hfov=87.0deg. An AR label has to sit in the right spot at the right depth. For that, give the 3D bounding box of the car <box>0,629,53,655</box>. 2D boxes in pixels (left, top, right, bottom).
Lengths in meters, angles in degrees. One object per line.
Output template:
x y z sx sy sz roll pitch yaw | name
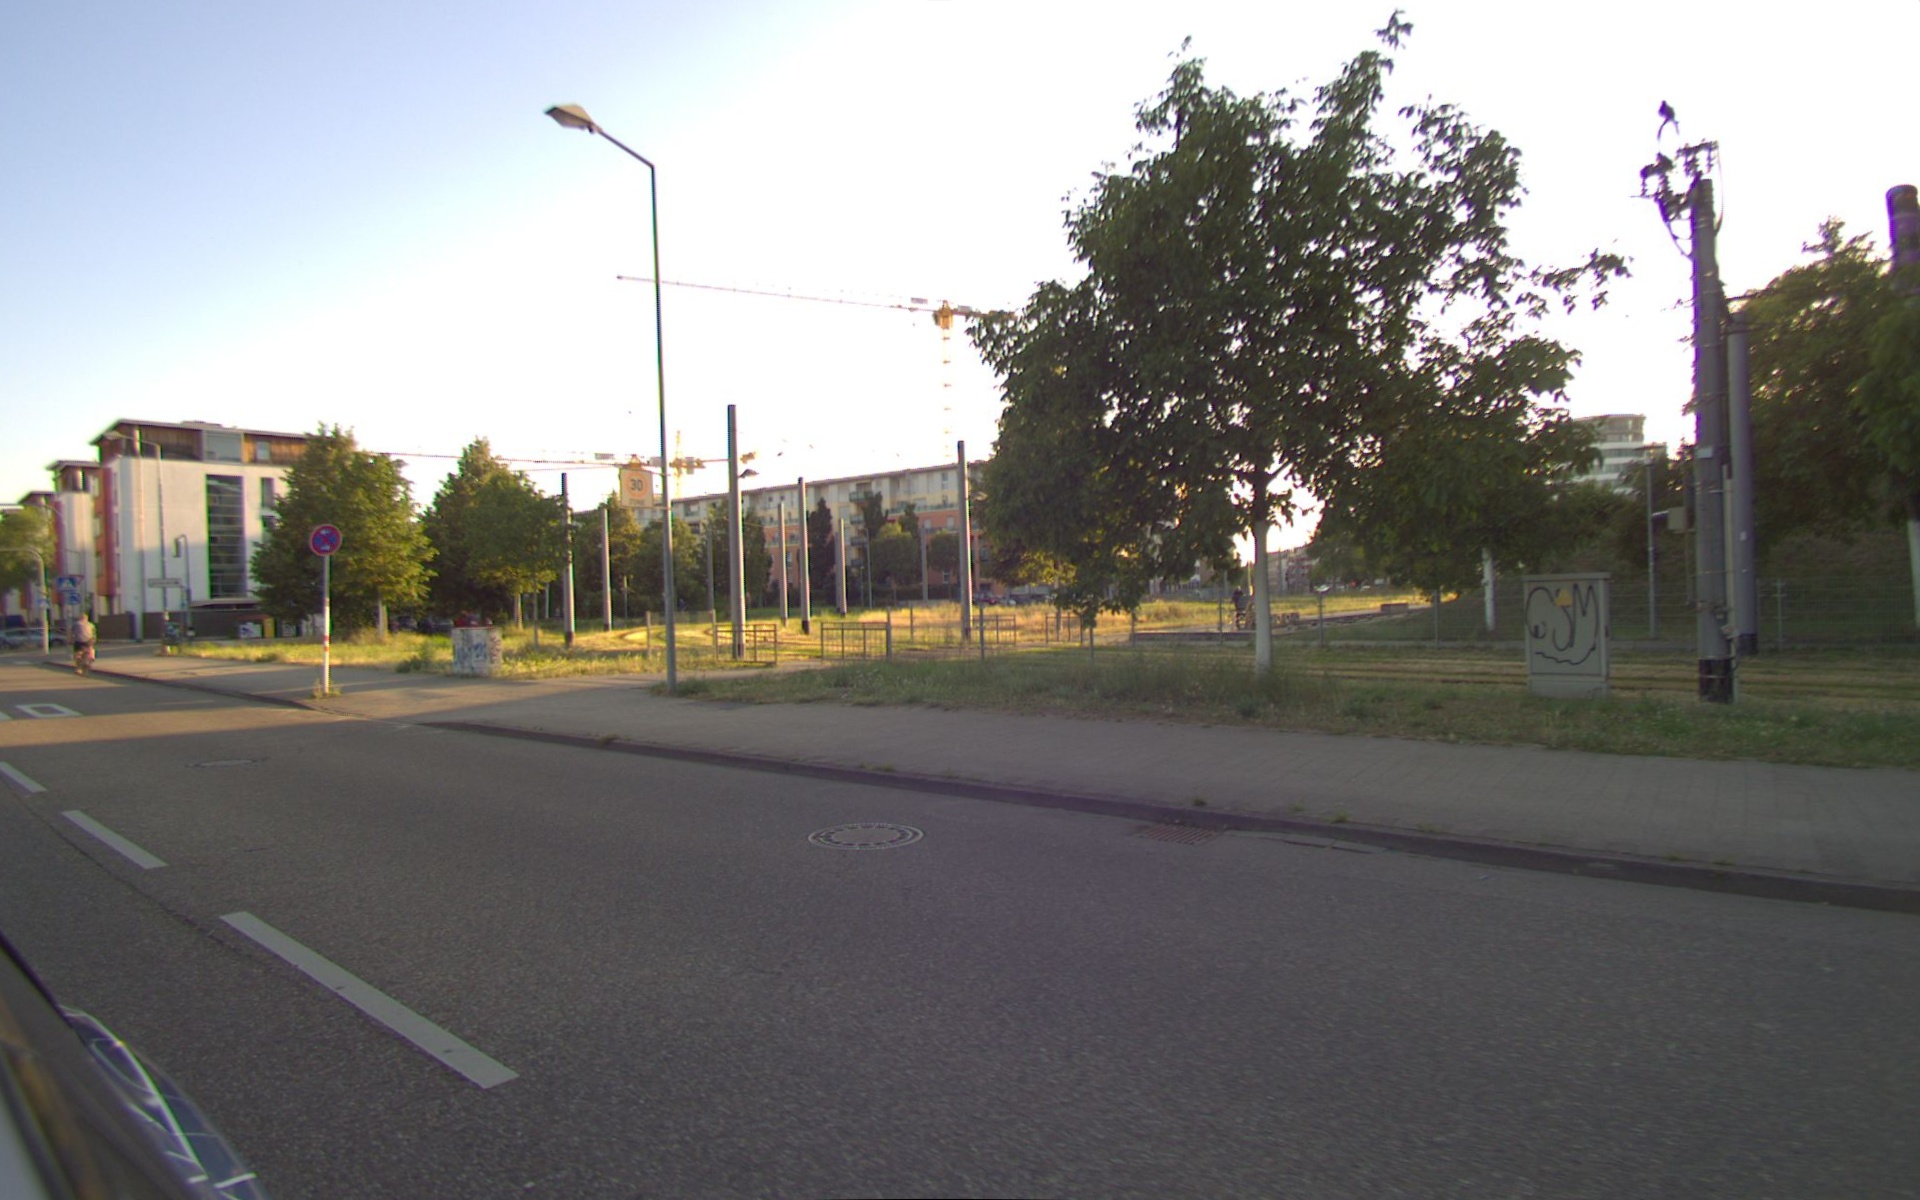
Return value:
-68.254 3.084 72.406 1.756 1.597 4.702 -3 1 38 | car

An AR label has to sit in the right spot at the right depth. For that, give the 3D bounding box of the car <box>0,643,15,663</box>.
-80.453 4.407 83.004 1.721 1.638 4.052 -3 -3 38 | car

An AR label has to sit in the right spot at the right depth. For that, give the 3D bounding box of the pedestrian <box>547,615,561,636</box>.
-32.002 1.992 79.807 0.649 1.611 0.711 -3 1 9 | pedestrian

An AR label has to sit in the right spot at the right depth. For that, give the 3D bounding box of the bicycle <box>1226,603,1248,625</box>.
12.088 0.597 44.148 0.431 0.907 1.219 -3 -1 41 | bicycle

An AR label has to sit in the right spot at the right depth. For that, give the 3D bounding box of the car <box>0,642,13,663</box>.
-77.397 4.254 79.548 1.721 1.637 4.053 -3 0 38 | car

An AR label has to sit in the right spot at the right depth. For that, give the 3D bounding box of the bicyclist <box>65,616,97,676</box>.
-25.380 1.338 29.222 0.607 1.675 1.037 -2 -1 -44 | bicyclist

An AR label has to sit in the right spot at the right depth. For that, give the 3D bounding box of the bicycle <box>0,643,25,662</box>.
-60.729 3.359 64.339 0.566 1.074 1.799 -3 2 39 | bicycle

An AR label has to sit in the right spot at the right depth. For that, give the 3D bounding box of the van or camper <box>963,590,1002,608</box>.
2.421 -0.102 109.769 3.880 1.707 1.808 -4 -1 44 | van or camper

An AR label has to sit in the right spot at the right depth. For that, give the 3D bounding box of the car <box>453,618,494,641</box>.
-34.736 2.113 72.226 3.412 1.511 1.572 -2 0 44 | car

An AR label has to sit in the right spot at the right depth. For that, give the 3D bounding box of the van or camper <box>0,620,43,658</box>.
-84.423 3.513 88.211 2.439 3.110 6.239 -3 0 37 | van or camper

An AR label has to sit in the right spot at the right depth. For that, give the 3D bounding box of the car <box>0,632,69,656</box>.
-61.950 2.936 67.042 1.679 1.469 4.237 -3 -1 40 | car

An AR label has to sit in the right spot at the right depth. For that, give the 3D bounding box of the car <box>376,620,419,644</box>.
-38.500 2.175 69.262 3.412 1.533 1.666 -2 0 44 | car

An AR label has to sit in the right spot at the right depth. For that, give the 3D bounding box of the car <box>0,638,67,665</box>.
-64.057 3.551 68.719 1.709 1.489 4.854 -3 1 40 | car

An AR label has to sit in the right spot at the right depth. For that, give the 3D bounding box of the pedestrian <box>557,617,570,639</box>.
-31.259 2.234 79.761 0.618 1.679 0.741 -3 1 11 | pedestrian

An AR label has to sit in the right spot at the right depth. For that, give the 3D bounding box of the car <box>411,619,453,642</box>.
-36.860 2.105 70.617 3.412 1.511 1.572 -2 0 44 | car

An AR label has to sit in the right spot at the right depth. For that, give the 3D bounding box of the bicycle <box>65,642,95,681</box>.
-25.325 1.757 29.122 0.532 1.051 1.926 -2 -1 -44 | bicycle

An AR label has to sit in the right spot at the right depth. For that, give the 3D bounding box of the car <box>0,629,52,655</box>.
-66.298 3.018 70.233 4.719 1.566 1.712 -5 1 -44 | car

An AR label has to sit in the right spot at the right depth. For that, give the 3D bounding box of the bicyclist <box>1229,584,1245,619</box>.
12.100 0.076 44.199 0.424 1.506 0.507 -4 -1 42 | bicyclist
